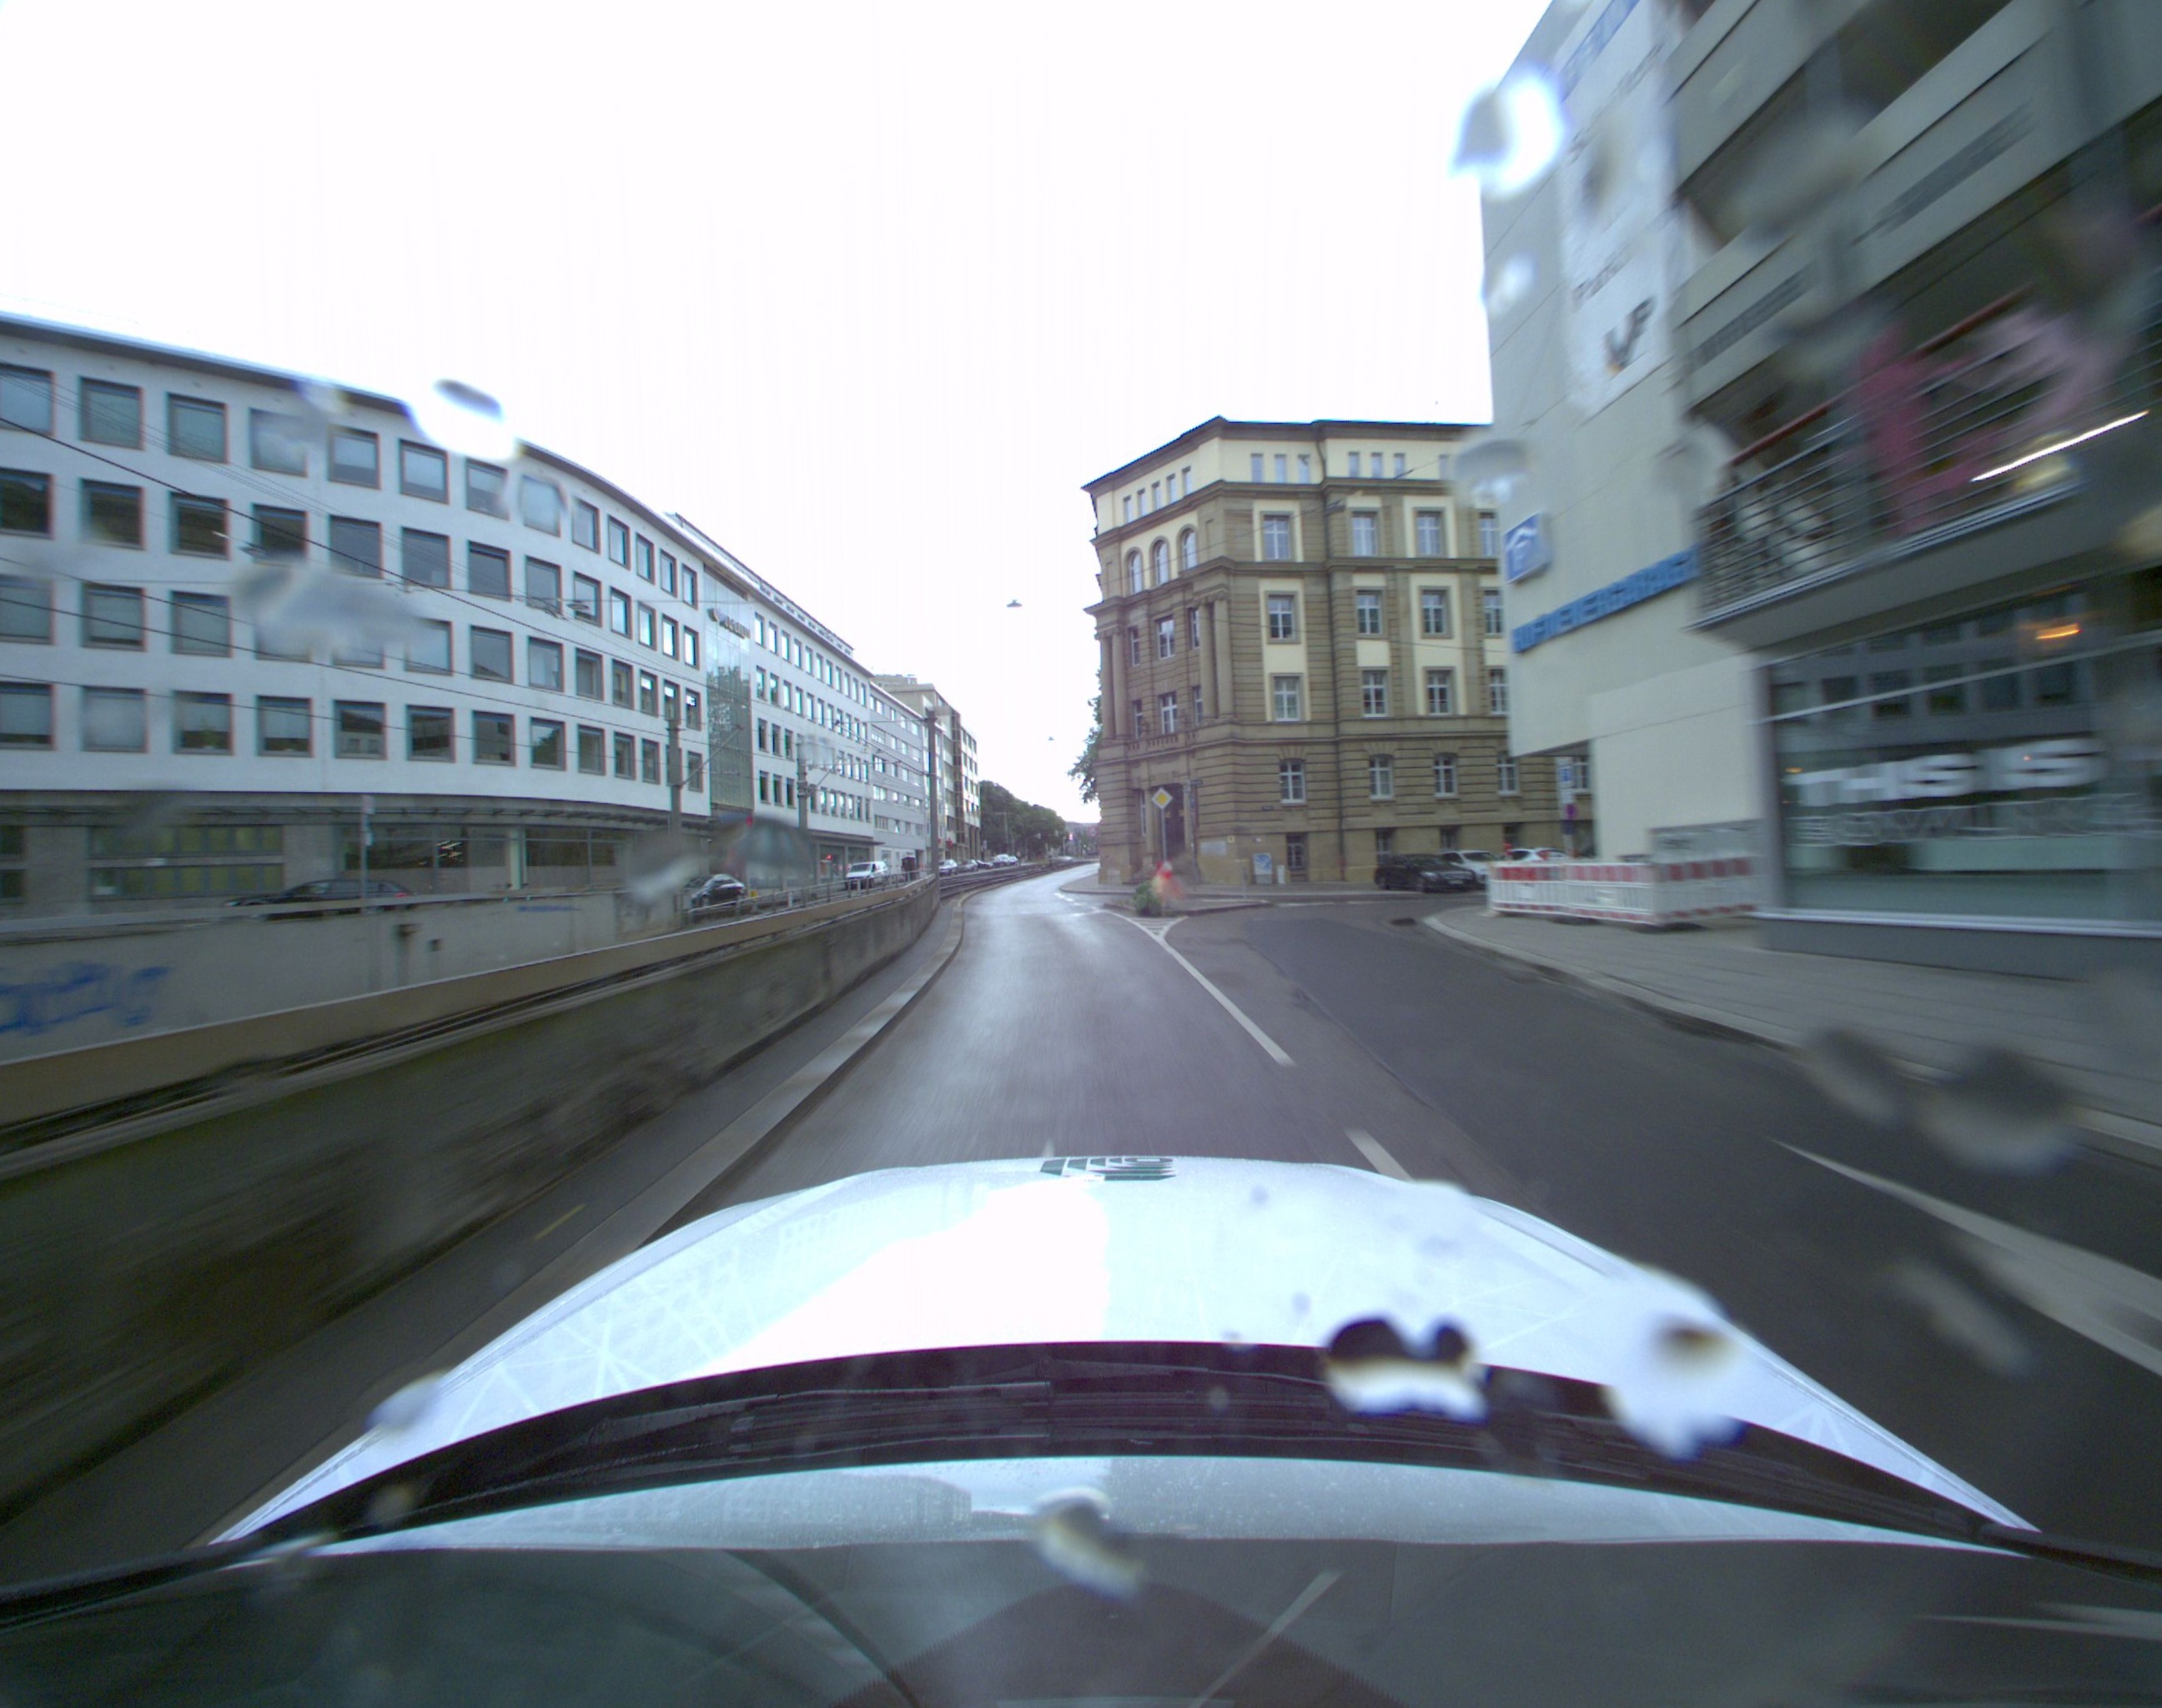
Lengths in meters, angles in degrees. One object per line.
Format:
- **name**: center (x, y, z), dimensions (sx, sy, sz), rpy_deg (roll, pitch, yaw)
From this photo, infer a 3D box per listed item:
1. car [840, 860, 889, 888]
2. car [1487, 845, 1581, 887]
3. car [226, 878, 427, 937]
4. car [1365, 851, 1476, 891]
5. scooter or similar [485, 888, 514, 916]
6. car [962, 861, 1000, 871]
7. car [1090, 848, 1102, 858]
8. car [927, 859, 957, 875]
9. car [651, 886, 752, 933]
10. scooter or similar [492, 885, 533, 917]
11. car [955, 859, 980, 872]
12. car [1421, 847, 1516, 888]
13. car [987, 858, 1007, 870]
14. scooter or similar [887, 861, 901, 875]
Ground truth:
- **car**: center (-15.594, 1.406, 58.980), dimensions (1.985, 1.883, 4.930), rpy_deg (-2, 0, 3)
- **car**: center (17.816, 0.444, 32.219), dimensions (1.676, 1.517, 3.575), rpy_deg (-2, 0, 0)
- **car**: center (-25.794, 1.785, 28.097), dimensions (4.799, 1.522, 1.658), rpy_deg (-4, -1, -33)
- **car**: center (12.842, 0.605, 31.164), dimensions (1.732, 1.367, 4.992), rpy_deg (-2, 0, -6)
- **scooter or similar**: center (-22.829, 1.890, 31.977), dimensions (0.814, 1.044, 0.550), rpy_deg (-2, 0, 18)
- **car**: center (-12.708, 1.526, 103.197), dimensions (4.259, 1.163, 2.011), rpy_deg (-2, 0, 22)
- **car**: center (2.528, -0.182, 136.620), dimensions (1.985, 1.662, 4.003), rpy_deg (-2, 0, 3)
- **car**: center (-13.869, 1.308, 81.477), dimensions (1.985, 1.456, 4.314), rpy_deg (-2, 0, 2)
- **car**: center (-14.486, 2.077, 31.327), dimensions (1.985, 1.527, 3.665), rpy_deg (-2, 0, 2)
- **scooter or similar**: center (-22.053, 1.810, 31.606), dimensions (0.542, 1.178, 1.193), rpy_deg (-2, 0, 17)
- **car**: center (-13.024, 1.312, 93.819), dimensions (1.985, 1.456, 4.314), rpy_deg (-2, 0, 2)
- **car**: center (15.266, 0.511, 32.352), dimensions (1.729, 1.455, 4.329), rpy_deg (-2, 0, 0)
- **car**: center (-11.356, 1.323, 110.549), dimensions (1.985, 1.456, 4.314), rpy_deg (-2, 0, 2)
- **scooter or similar**: center (-17.602, 1.301, 76.678), dimensions (0.761, 1.220, 2.066), rpy_deg (-2, 0, 2)
